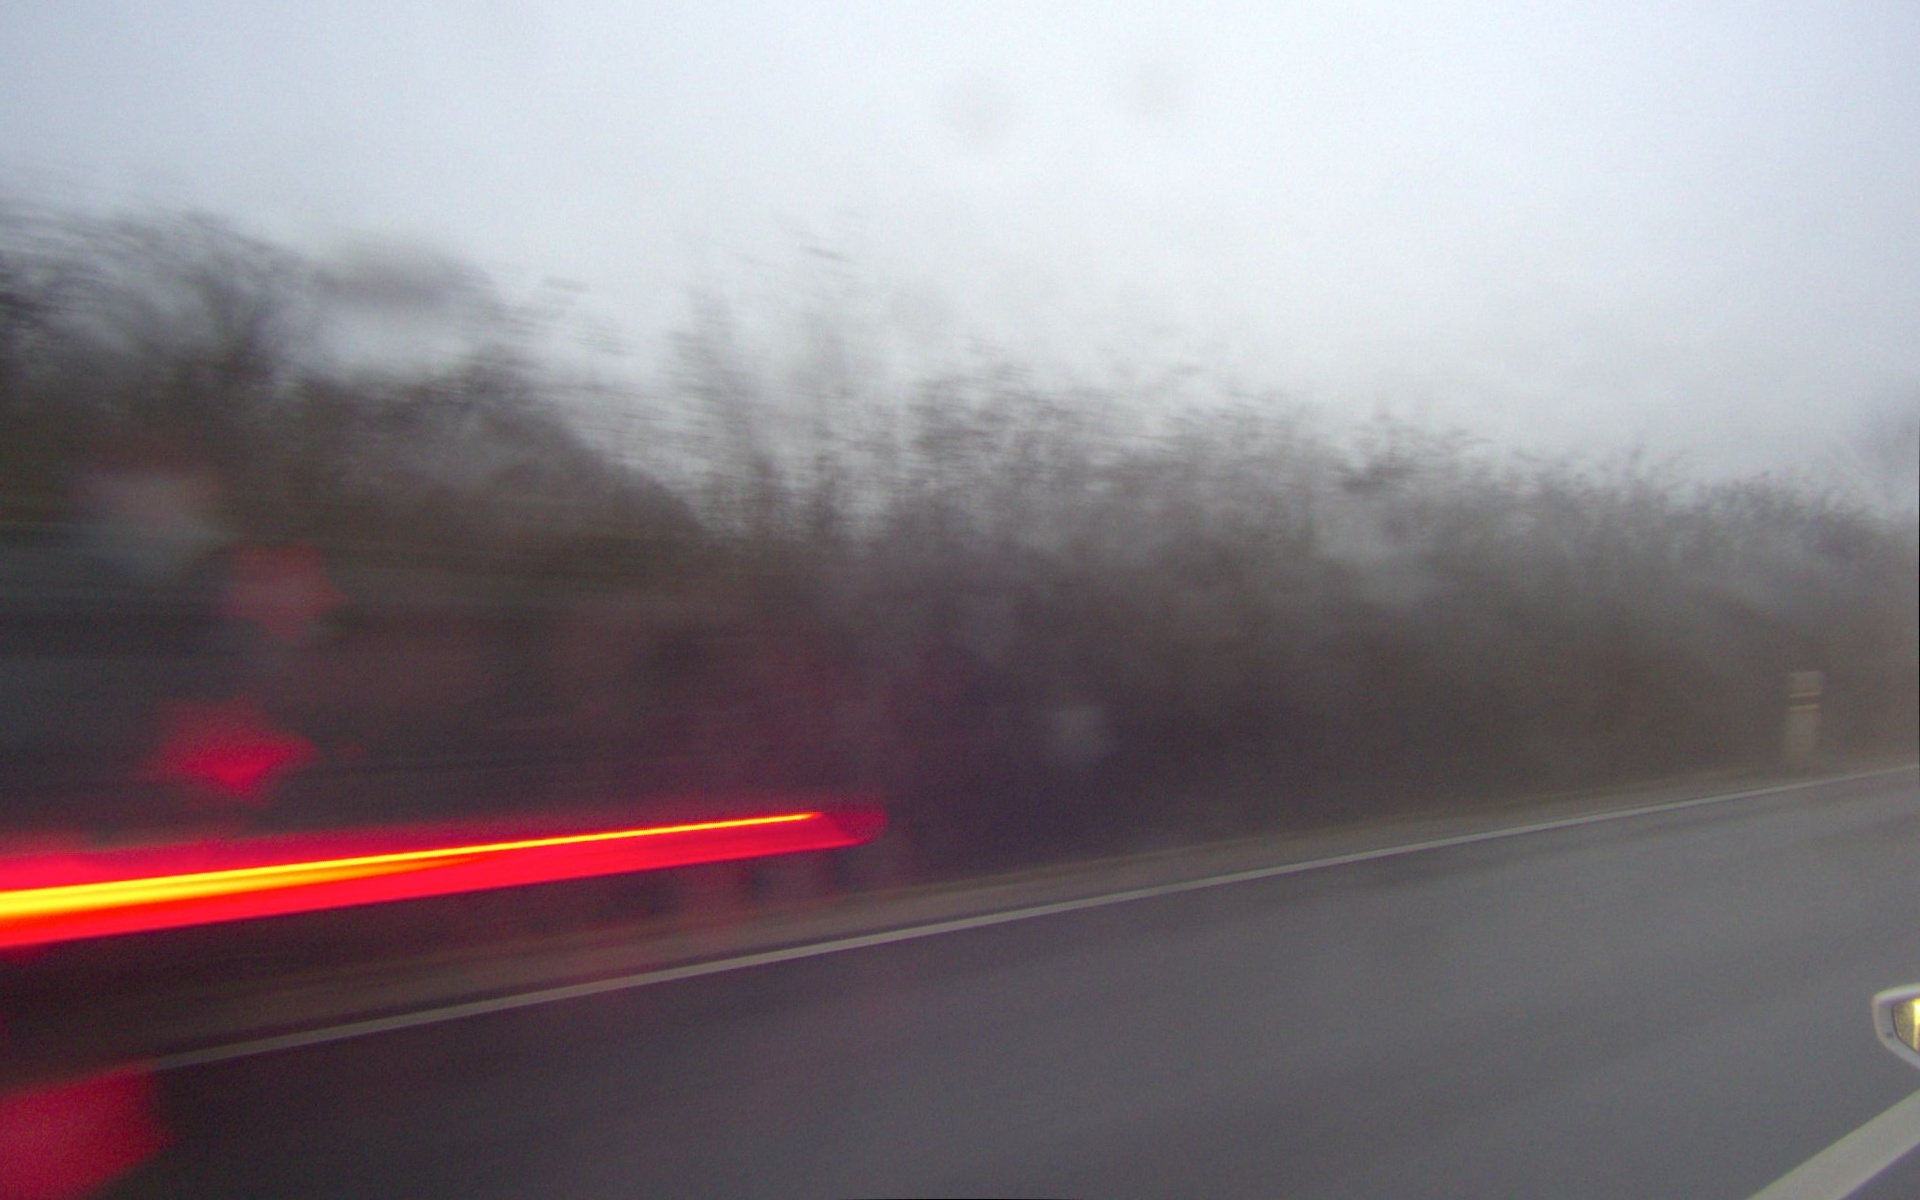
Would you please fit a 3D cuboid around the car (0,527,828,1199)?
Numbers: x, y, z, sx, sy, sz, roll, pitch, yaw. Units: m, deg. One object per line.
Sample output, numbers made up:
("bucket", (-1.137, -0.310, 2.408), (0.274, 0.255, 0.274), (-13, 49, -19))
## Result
("car", (-2.375, 0.684, 1.535), (3.954, 1.506, 1.795), (1, -3, -31))
